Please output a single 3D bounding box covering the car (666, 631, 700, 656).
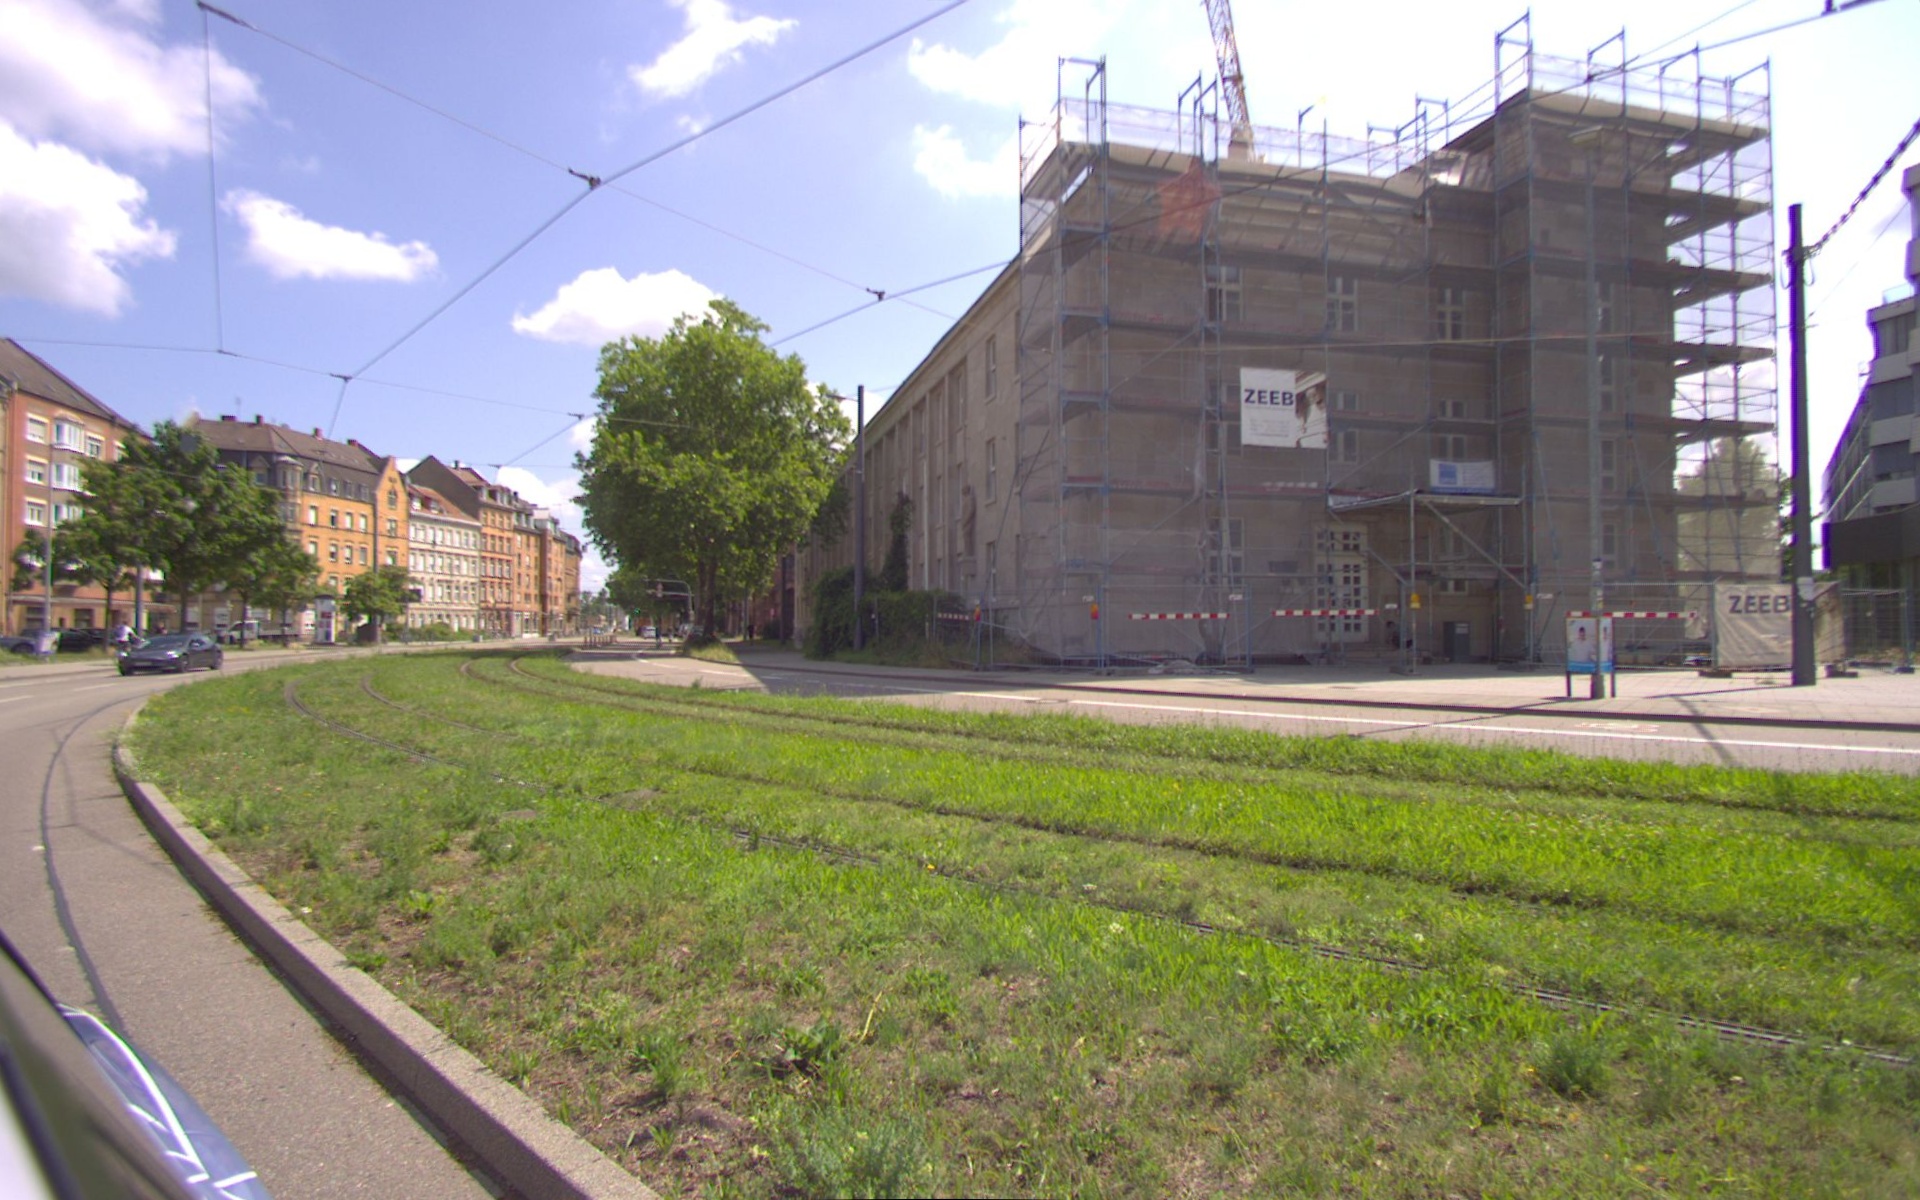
[{"bbox_3d":[-16.893,2.642,61.804,1.900,1.431,4.061,-2,-2,-15],"label":"car"}]

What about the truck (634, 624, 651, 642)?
[{"bbox_3d":[-56.809,5.941,181.060,2.603,3.130,7.243,2,-2,-15],"label":"truck"}]

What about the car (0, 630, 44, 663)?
[{"bbox_3d":[-42.869,2.056,44.078,1.850,1.391,4.214,-2,-1,38],"label":"car"}]

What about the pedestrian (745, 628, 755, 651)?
[{"bbox_3d":[-14.636,2.752,70.545,0.546,1.603,0.797,-1,-1,-16],"label":"pedestrian"}]

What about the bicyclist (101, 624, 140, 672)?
[{"bbox_3d":[-33.969,1.938,40.972,0.685,1.838,0.959,5,-3,-13],"label":"bicyclist"}]

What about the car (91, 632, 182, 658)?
[{"bbox_3d":[-46.574,2.529,57.350,3.935,1.364,1.965,0,-1,-38],"label":"car"}]

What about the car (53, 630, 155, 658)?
[{"bbox_3d":[-45.667,2.328,54.025,1.961,1.391,3.945,-2,-1,42],"label":"car"}]

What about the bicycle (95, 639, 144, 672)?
[{"bbox_3d":[-33.995,2.236,40.965,0.684,1.251,1.844,5,-3,-13],"label":"bicycle"}]

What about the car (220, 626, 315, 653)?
[{"bbox_3d":[-63.560,3.616,92.989,6.859,2.392,2.270,0,-2,-22],"label":"car"}]

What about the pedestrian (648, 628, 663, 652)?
[{"bbox_3d":[-21.601,2.825,71.714,0.703,1.717,0.772,-2,-2,45],"label":"pedestrian"}]

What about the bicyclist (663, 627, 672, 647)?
[{"bbox_3d":[-26.085,3.298,90.184,0.751,1.717,0.786,-1,-1,-17],"label":"bicyclist"}]

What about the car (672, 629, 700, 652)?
[{"bbox_3d":[-19.141,2.820,70.536,1.722,1.465,3.501,-2,-2,-17],"label":"car"}]

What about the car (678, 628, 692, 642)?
[{"bbox_3d":[-37.287,4.715,137.358,1.733,1.850,4.011,-1,-1,-15],"label":"car"}]

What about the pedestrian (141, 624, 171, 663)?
[{"bbox_3d":[-37.209,2.003,46.857,0.690,1.717,1.048,1,-1,-17],"label":"pedestrian"}]

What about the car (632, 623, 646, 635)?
[{"bbox_3d":[-50.637,4.590,159.581,1.894,1.759,4.550,3,-2,-16],"label":"car"}]

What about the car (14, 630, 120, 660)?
[{"bbox_3d":[-45.059,2.244,51.099,3.940,1.391,1.963,0,-1,-43],"label":"car"}]

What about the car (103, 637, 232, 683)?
[{"bbox_3d":[-28.268,2.097,36.290,1.885,1.404,4.323,-1,-1,-11],"label":"car"}]

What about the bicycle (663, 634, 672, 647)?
[{"bbox_3d":[-26.078,3.620,90.210,0.780,1.118,2.283,-1,-1,-16],"label":"bicycle"}]

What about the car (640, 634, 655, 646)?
[{"bbox_3d":[-39.485,5.089,128.060,1.736,1.491,3.798,2,-3,-16],"label":"car"}]

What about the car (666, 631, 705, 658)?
[{"bbox_3d":[-15.353,2.478,56.415,1.899,1.379,4.330,-2,-2,-17],"label":"car"}]
